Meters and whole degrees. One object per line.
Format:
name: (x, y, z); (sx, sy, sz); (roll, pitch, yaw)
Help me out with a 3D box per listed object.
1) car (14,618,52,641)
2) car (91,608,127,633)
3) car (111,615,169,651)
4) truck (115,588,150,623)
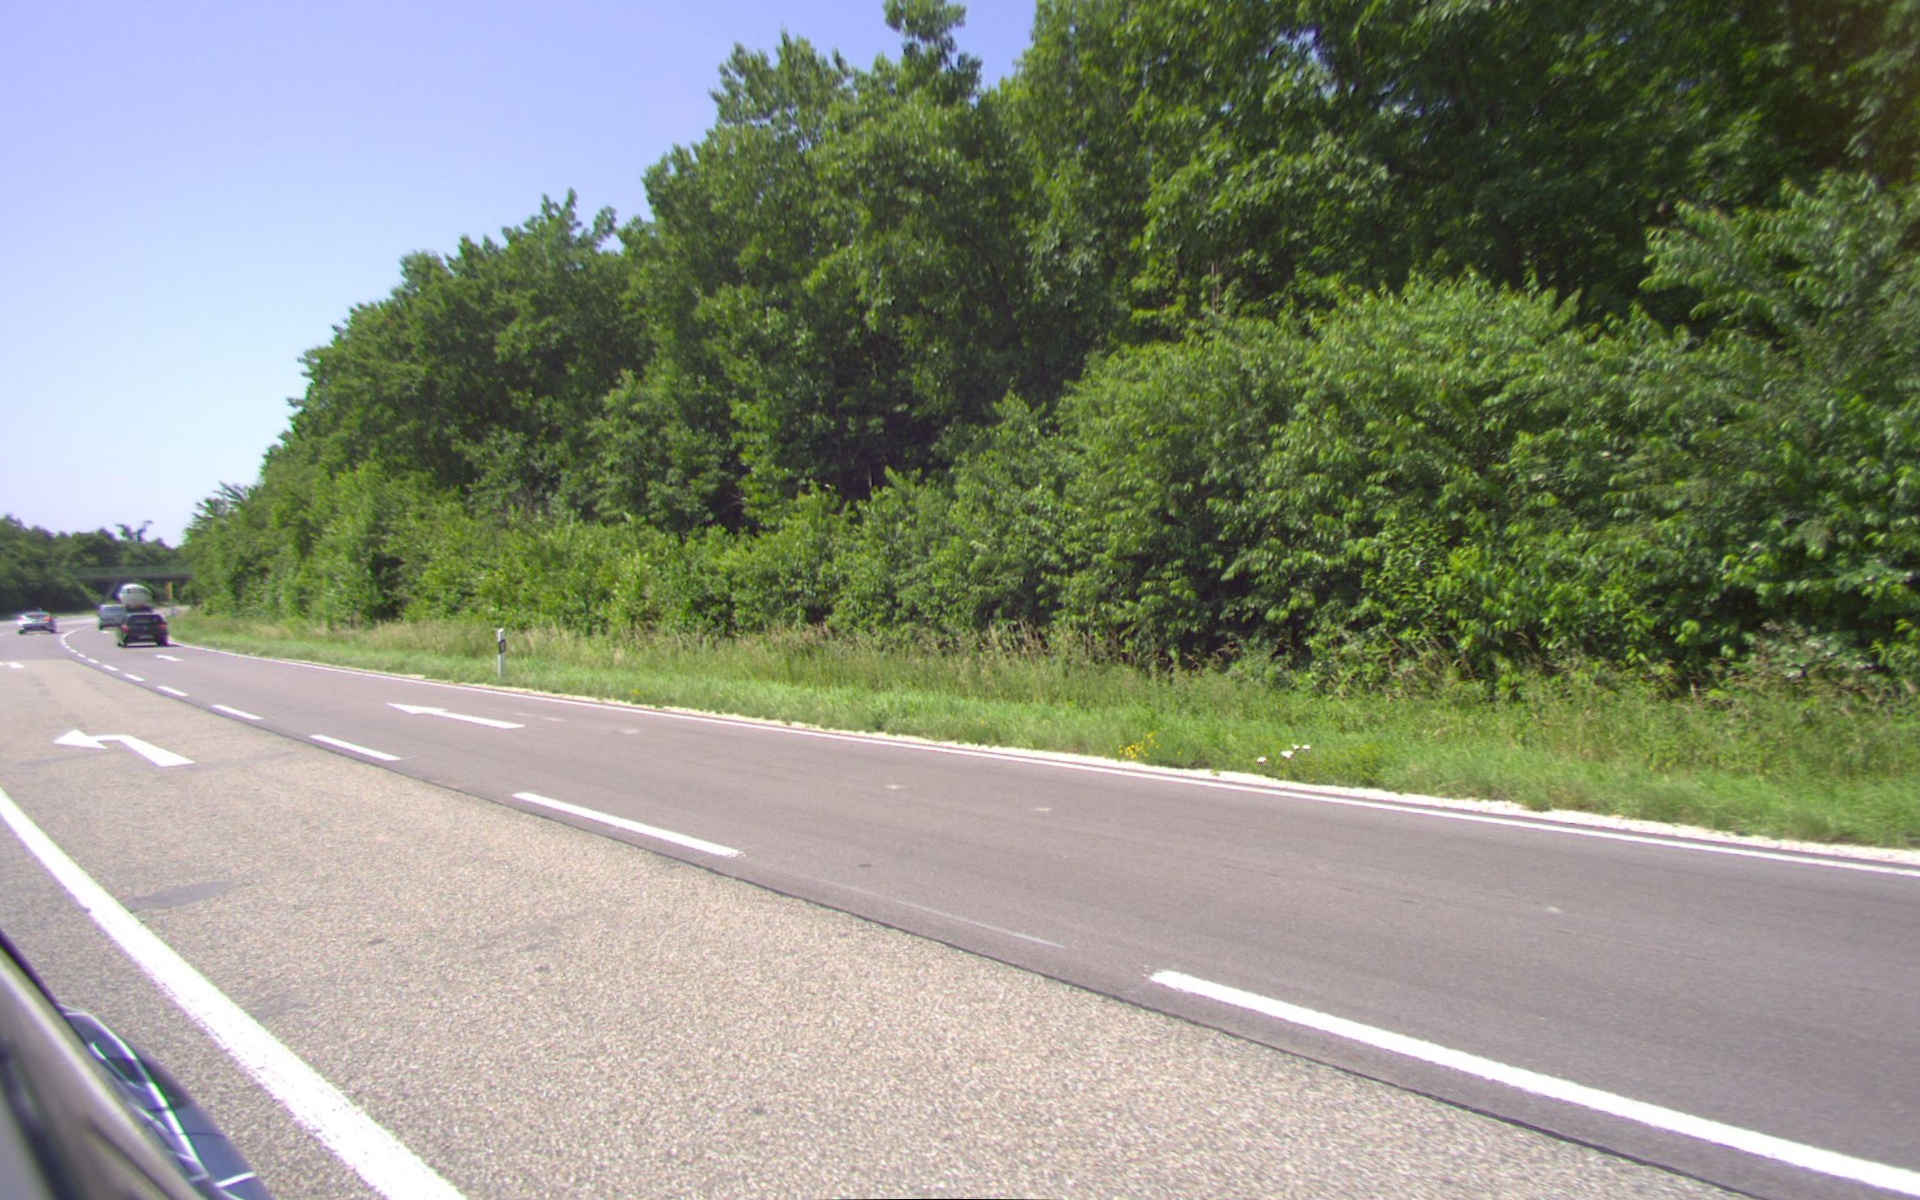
car: (-61.288, 1.934, 66.935); (1.687, 1.430, 4.105); (-1, 0, -40)
car: (-62.967, 1.515, 74.858); (1.820, 1.792, 4.899); (-1, 0, -42)
car: (-36.004, 1.424, 44.402); (3.554, 1.513, 1.596); (-1, -1, 45)
truck: (-90.402, 0.602, 110.699); (2.593, 3.698, 8.815); (-1, 0, -37)
